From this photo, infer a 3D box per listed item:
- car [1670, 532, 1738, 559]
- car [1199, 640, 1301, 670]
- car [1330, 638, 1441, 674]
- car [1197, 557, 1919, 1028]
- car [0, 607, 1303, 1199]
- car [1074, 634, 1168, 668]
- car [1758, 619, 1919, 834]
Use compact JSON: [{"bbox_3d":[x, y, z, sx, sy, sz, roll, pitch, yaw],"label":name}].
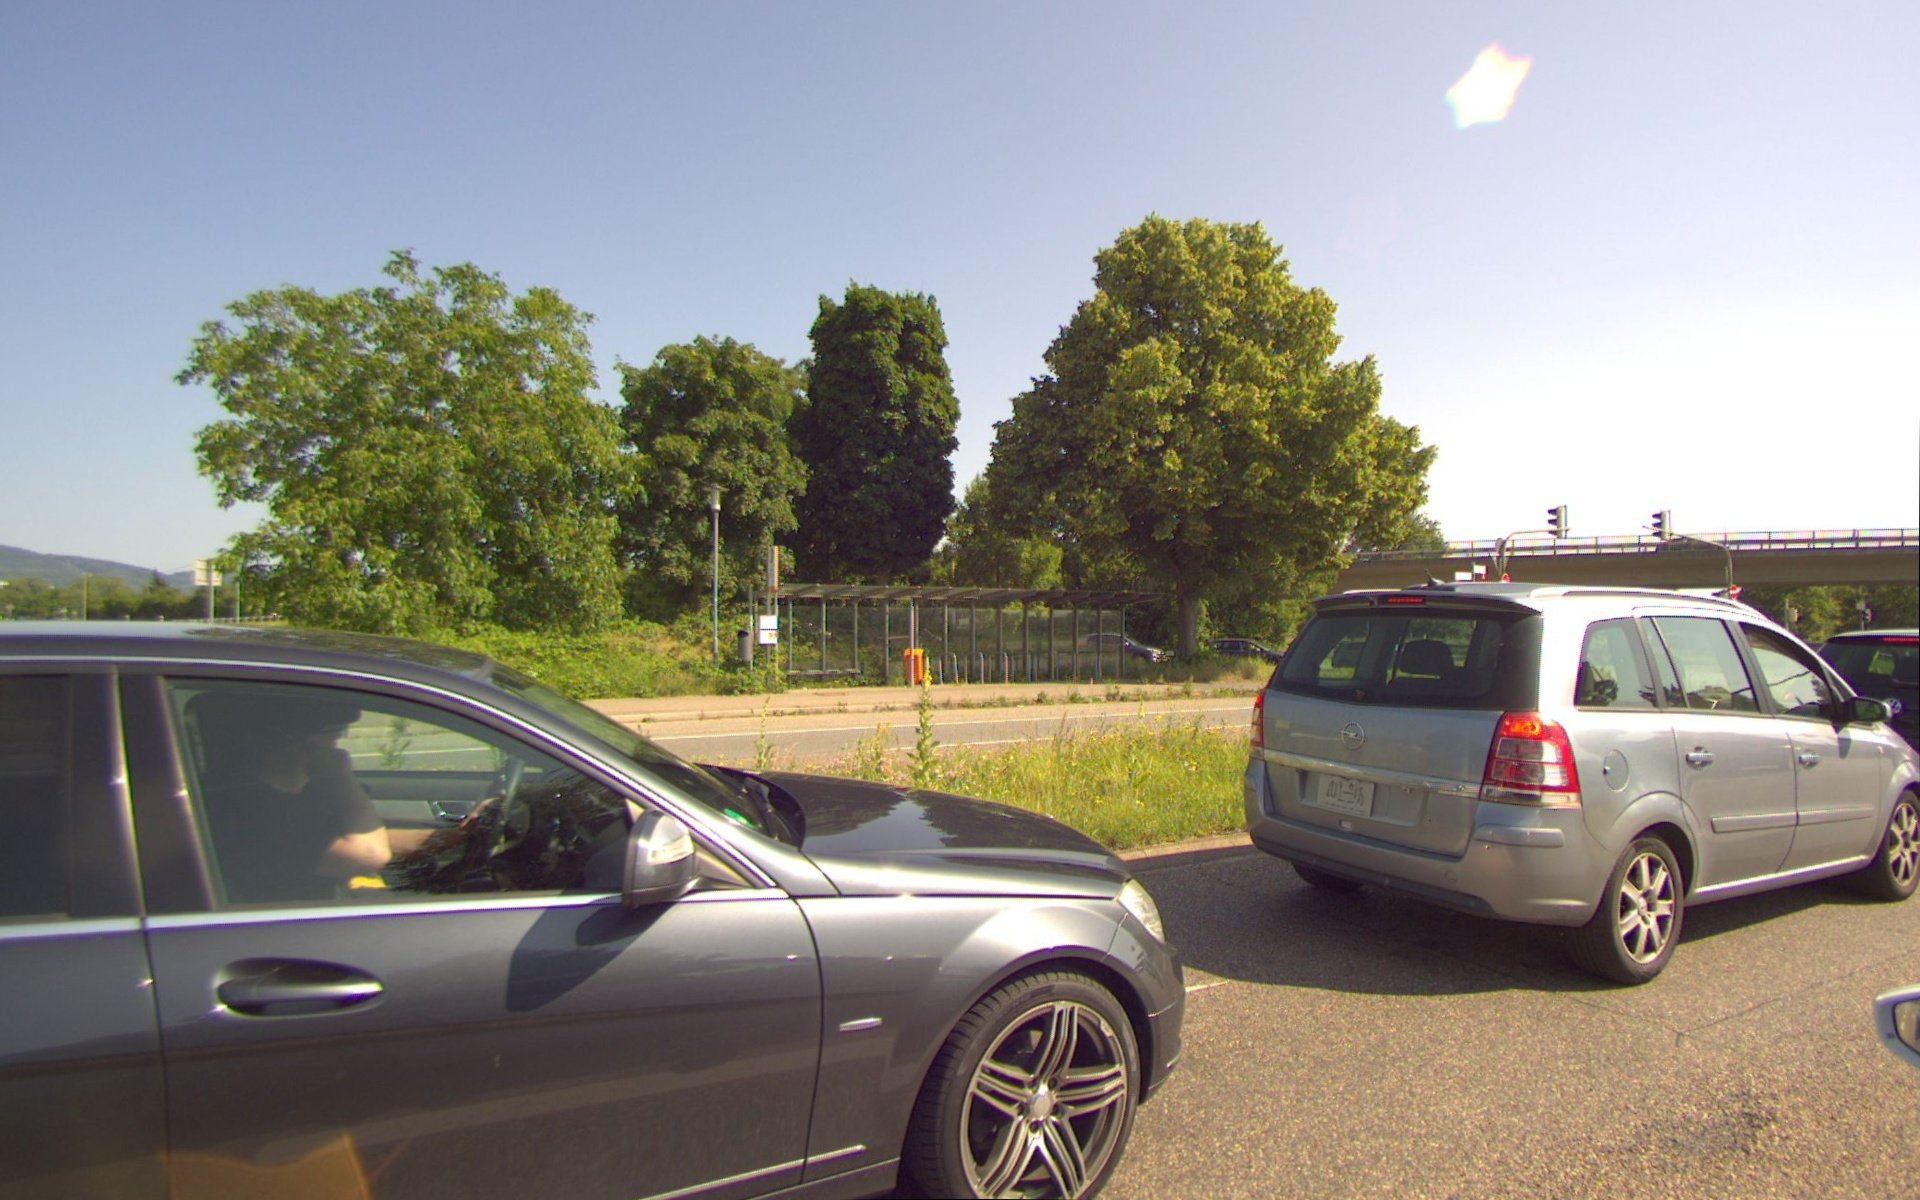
[{"bbox_3d":[47.053,-3.434,63.563,3.133,1.505,1.325,0,-2,10],"label":"car"},{"bbox_3d":[13.427,2.506,46.575,4.279,1.297,1.647,-1,-2,32],"label":"car"},{"bbox_3d":[18.294,2.377,43.301,4.066,1.443,1.862,-2,-2,41],"label":"car"},{"bbox_3d":[3.504,0.720,5.454,4.305,1.695,1.733,1,0,-30],"label":"car"},{"bbox_3d":[-1.386,0.756,2.307,4.303,1.429,1.706,1,0,-30],"label":"car"},{"bbox_3d":[7.856,2.467,49.115,4.272,1.616,1.650,-1,-2,25],"label":"car"},{"bbox_3d":[8.414,0.922,8.168,4.049,1.494,1.658,1,-1,-30],"label":"car"}]
